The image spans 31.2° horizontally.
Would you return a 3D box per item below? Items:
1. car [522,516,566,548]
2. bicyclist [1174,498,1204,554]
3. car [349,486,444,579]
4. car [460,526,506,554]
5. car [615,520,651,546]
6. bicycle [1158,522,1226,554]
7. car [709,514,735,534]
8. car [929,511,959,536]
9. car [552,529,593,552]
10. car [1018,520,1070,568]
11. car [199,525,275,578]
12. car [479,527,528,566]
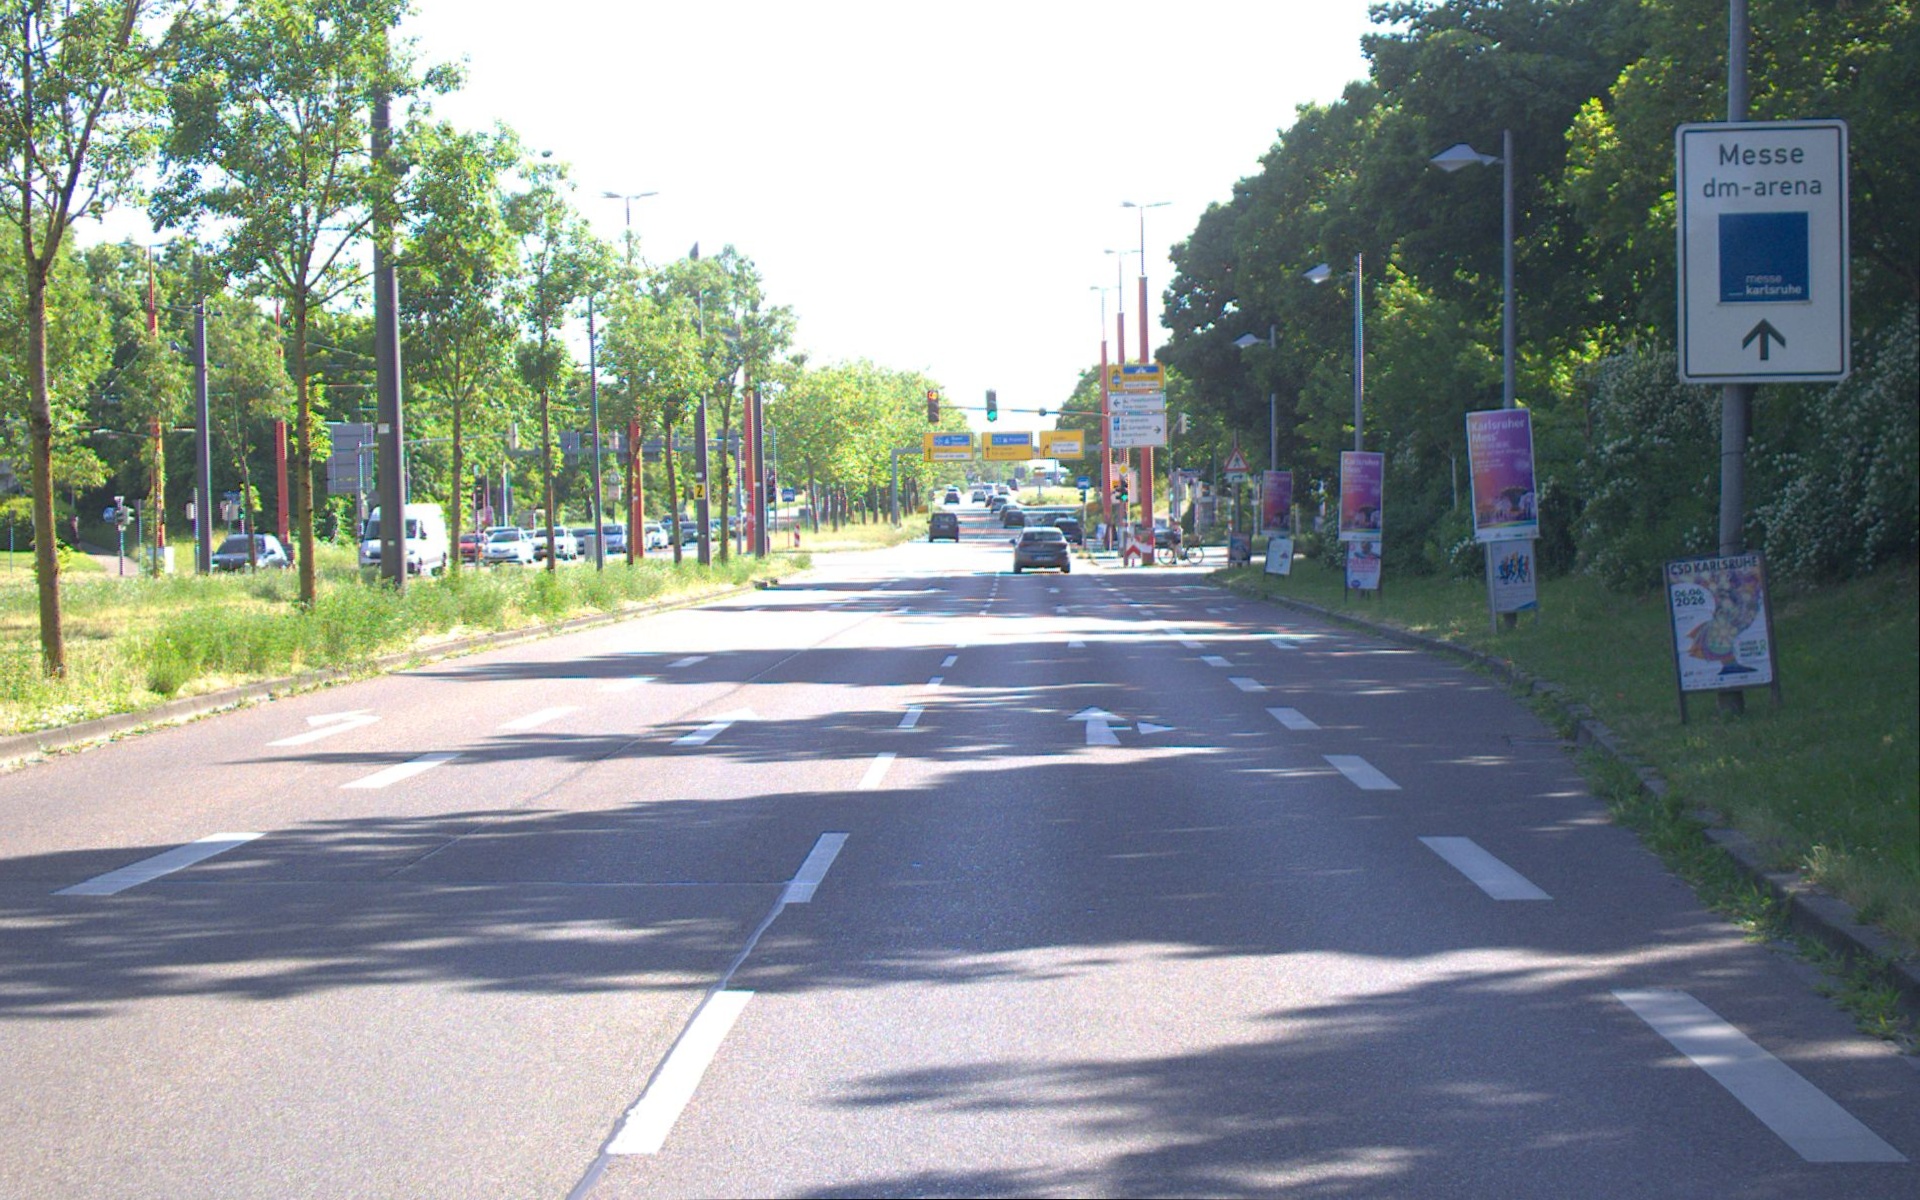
[{"bbox_3d":[-19.443,-3.189,160.775,1.631,1.440,4.192,0,1,-1],"label":"car"},{"bbox_3d":[8.230,-2.676,123.631,1.009,2.000,0.812,0,1,1],"label":"bicyclist"},{"bbox_3d":[-20.039,-2.399,122.581,2.465,3.228,6.135,0,1,-1],"label":"car"},{"bbox_3d":[-22.146,-2.806,159.787,1.631,1.284,4.099,0,1,-1],"label":"car"},{"bbox_3d":[-18.388,-3.788,193.422,1.631,1.440,4.192,0,1,-1],"label":"car"},{"bbox_3d":[8.332,-2.234,123.643,2.414,1.105,0.812,0,1,1],"label":"bicycle"},{"bbox_3d":[-17.256,-5.533,249.705,1.631,1.440,4.192,0,1,-1],"label":"car"},{"bbox_3d":[-0.963,-4.624,207.497,1.634,1.493,4.235,0,1,1],"label":"car"},{"bbox_3d":[-19.275,-2.981,171.208,1.631,1.107,4.192,0,1,-1],"label":"car"},{"bbox_3d":[2.707,-1.807,110.789,1.634,1.493,4.235,0,1,1],"label":"car"},{"bbox_3d":[-23.662,-1.614,112.576,1.631,1.675,4.192,0,1,-1],"label":"car"},{"bbox_3d":[-19.944,-2.360,150.459,1.631,1.675,4.192,0,1,-1],"label":"car"}]
